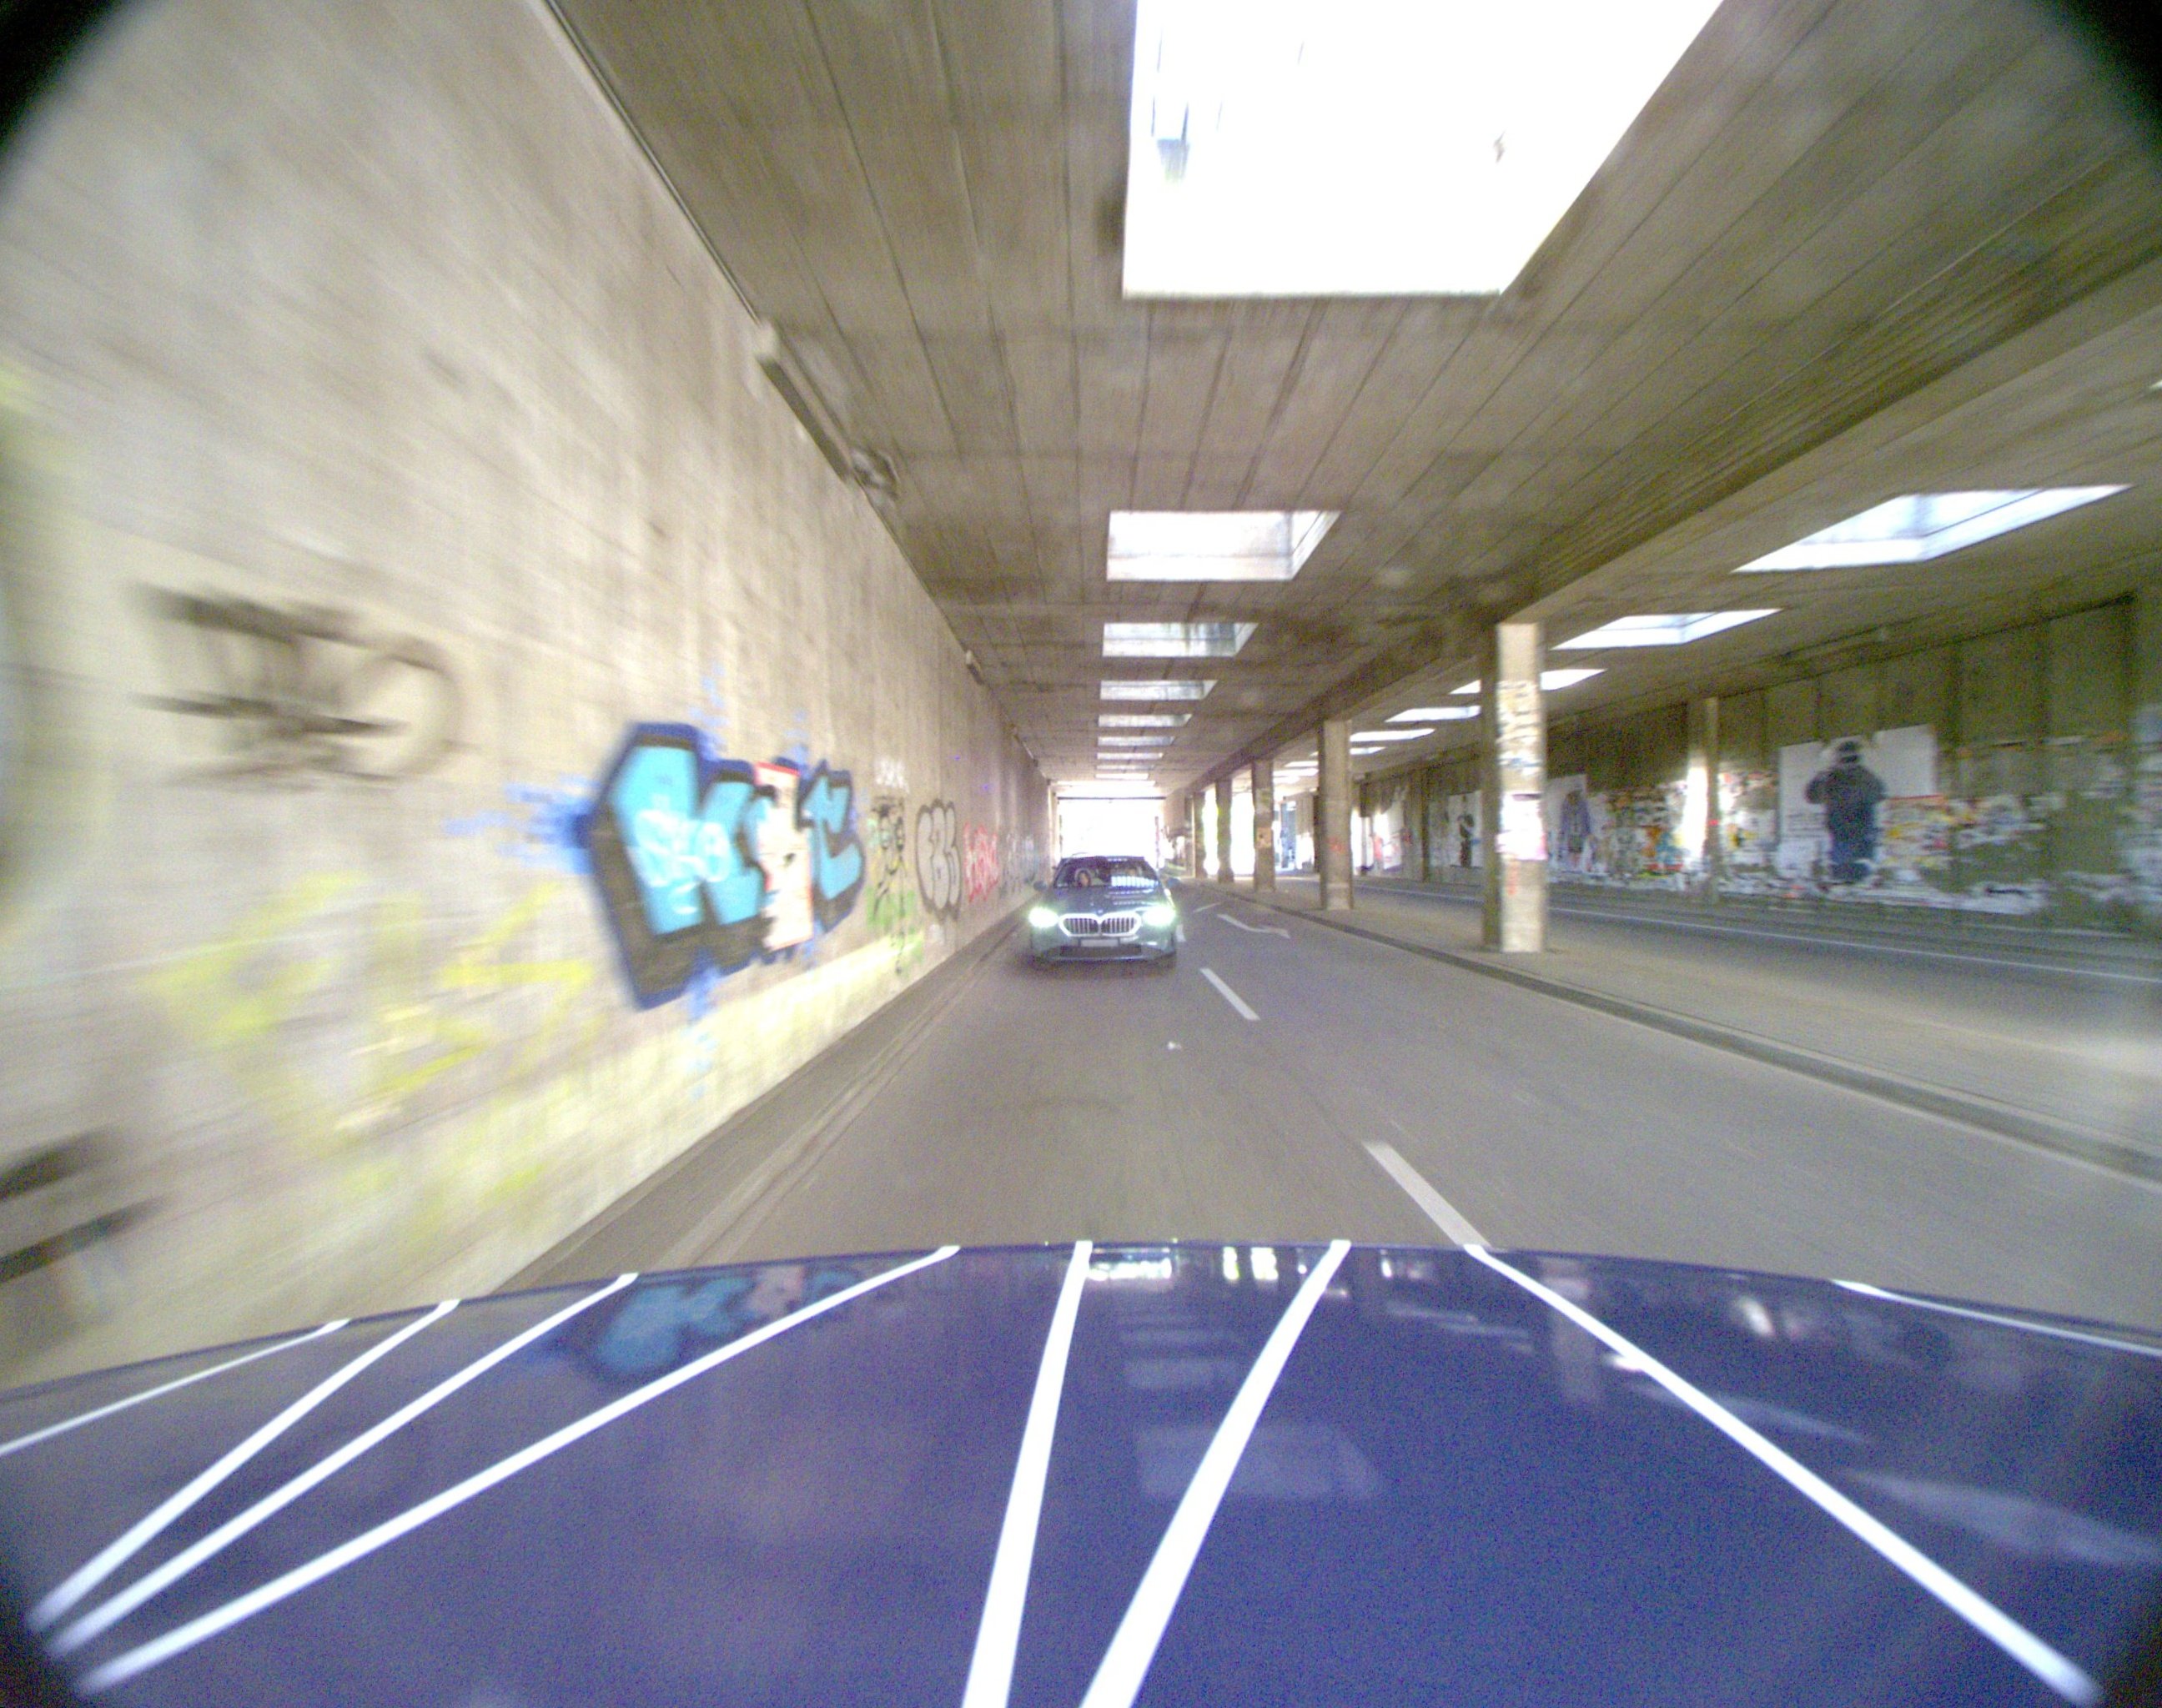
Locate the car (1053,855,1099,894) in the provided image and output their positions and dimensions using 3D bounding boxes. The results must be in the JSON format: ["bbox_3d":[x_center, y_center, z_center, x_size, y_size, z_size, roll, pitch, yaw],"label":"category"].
[{"bbox_3d":[-0.135,0.761,29.827,1.616,1.367,4.199,-1,1,2],"label":"car"}]

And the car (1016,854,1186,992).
[{"bbox_3d":[0.318,0.815,11.404,1.957,1.546,5.040,-1,1,2],"label":"car"}]

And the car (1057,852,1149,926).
[{"bbox_3d":[0.548,0.765,18.605,1.957,1.546,4.247,-1,1,2],"label":"car"}]

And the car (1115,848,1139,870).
[{"bbox_3d":[3.373,0.352,55.771,1.616,1.546,4.013,-1,1,2],"label":"car"}]

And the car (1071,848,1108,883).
[{"bbox_3d":[0.457,0.500,35.990,1.616,1.546,4.013,-1,1,2],"label":"car"}]

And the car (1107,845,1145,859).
[{"bbox_3d":[4.981,-0.199,84.694,3.998,1.386,1.833,-2,1,-2],"label":"car"}]
